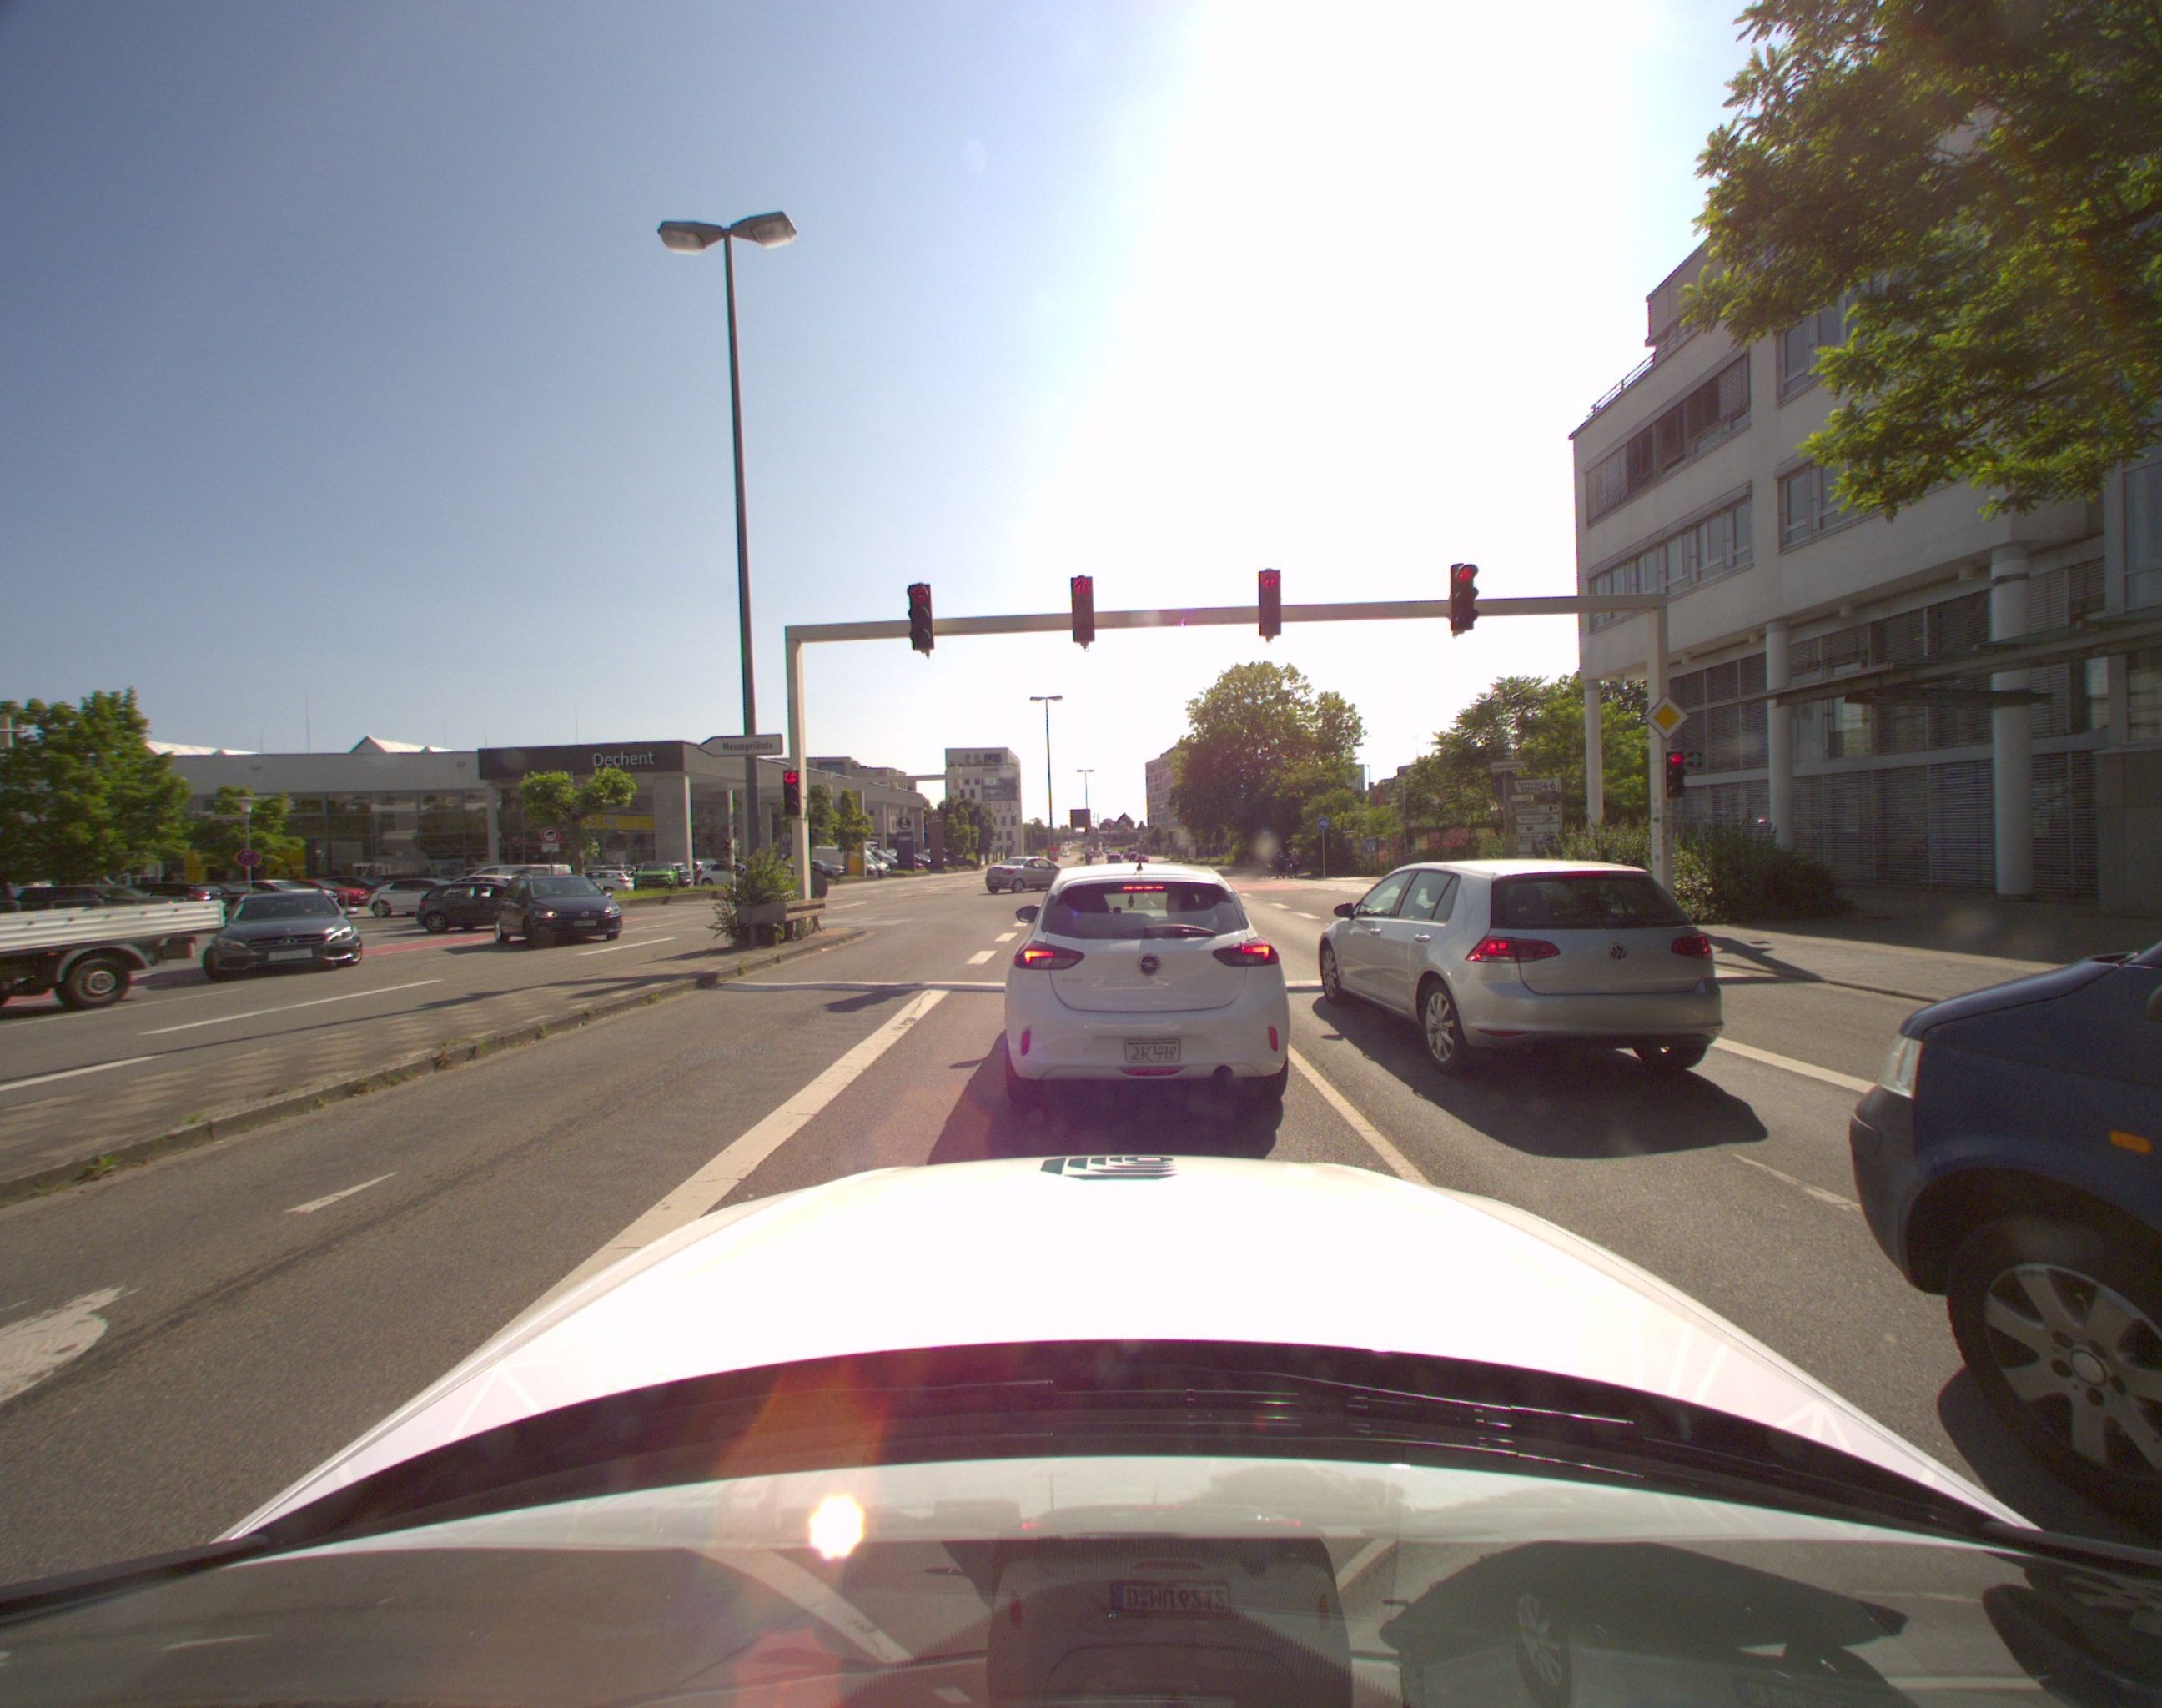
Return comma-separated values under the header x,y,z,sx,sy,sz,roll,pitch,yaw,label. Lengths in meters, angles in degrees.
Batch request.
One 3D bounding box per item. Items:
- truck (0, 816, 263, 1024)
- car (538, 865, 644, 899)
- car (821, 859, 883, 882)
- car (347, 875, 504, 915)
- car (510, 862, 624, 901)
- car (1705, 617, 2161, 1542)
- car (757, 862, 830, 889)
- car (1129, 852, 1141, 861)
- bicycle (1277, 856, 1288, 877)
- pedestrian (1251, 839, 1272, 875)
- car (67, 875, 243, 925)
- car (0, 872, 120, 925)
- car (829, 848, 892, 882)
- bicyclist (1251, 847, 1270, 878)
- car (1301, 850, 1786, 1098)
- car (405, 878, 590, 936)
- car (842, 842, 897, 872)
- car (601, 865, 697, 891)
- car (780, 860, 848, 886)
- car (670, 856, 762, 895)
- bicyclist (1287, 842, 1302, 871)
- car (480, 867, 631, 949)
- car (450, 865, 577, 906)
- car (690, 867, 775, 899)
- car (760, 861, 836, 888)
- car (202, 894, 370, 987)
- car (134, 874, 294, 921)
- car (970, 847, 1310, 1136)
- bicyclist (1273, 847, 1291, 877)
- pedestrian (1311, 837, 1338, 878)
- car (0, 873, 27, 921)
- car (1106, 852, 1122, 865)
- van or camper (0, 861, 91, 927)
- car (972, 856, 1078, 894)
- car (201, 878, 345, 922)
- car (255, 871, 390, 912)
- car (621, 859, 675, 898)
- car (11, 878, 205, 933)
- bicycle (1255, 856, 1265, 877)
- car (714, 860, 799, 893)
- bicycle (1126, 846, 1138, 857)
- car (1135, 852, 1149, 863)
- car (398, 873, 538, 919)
x,y,z,sx,sy,sz,roll,pitch,yaw,label
-14.408,0.860,9.733,2.346,2.545,6.445,-3,0,4,truck
-26.159,1.496,43.593,4.352,1.591,1.996,-2,0,-7,car
-18.506,1.337,65.910,4.334,1.696,2.004,-2,0,6,car
-25.544,1.589,31.869,4.348,1.300,1.997,-2,0,-4,car
-25.877,1.354,41.113,4.353,1.696,1.995,-2,0,-7,car
3.215,0.441,0.482,1.986,1.948,4.892,-2,-1,2,car
-20.070,1.469,56.965,4.344,1.696,1.999,-2,0,-1,car
9.088,0.393,137.537,1.799,1.386,4.001,0,-1,2,car
11.337,0.698,45.905,0.372,1.147,1.034,0,-1,0,bicycle
11.276,0.180,50.786,1.023,2.238,1.039,-2,0,1,pedestrian
-36.250,1.772,32.000,4.348,1.696,1.997,-2,0,-4,car
-43.165,1.825,33.708,3.984,2.013,1.995,-2,0,-8,car
-18.472,0.938,68.361,4.469,2.684,2.134,-2,0,10,car
10.450,0.475,47.538,0.876,1.772,0.864,-2,0,1,bicyclist
3.325,0.739,6.900,1.801,1.429,3.999,-2,-1,0,car
-17.429,1.558,24.519,3.982,1.442,1.996,-2,0,-6,car
-19.097,0.270,73.696,4.334,2.601,2.004,-2,0,6,car
-24.705,1.375,46.688,4.352,1.268,1.995,-3,-2,-7,car
-19.686,1.401,60.164,4.344,1.696,1.999,-2,0,-1,car
-19.036,1.085,42.607,3.859,1.837,1.999,-2,0,-1,car
12.158,0.120,46.343,0.650,1.637,0.660,0,-1,1,bicyclist
-12.074,1.158,18.621,4.082,1.617,1.903,-2,0,43,car
-26.512,1.441,38.187,4.353,1.696,1.995,-2,0,-7,car
-20.010,1.651,46.924,3.981,1.599,1.996,-2,0,-6,car
-18.984,1.353,54.716,4.343,1.696,1.999,-2,0,-1,car
-15.044,1.515,15.353,3.949,1.360,1.917,0,-1,41,car
-36.358,1.808,34.253,4.348,1.696,1.997,-2,0,-4,car
0.373,0.741,6.374,1.773,1.494,4.001,-2,0,2,car
11.311,0.468,45.861,0.687,1.643,0.775,-2,0,-7,bicyclist
12.425,0.182,41.585,1.023,2.013,1.039,-2,0,1,pedestrian
-40.612,1.615,28.342,4.371,1.696,1.987,-2,0,-20,car
3.785,0.541,94.321,1.800,1.386,4.000,1,0,1,car
-41.950,1.576,31.349,4.711,2.400,1.995,-2,0,-8,van or camper
-2.281,0.825,33.907,4.023,1.331,1.976,-3,1,-43,car
-36.638,2.061,37.024,4.348,1.696,1.997,-2,0,-4,car
-36.621,1.779,39.423,4.352,1.696,1.995,-2,0,-7,car
-21.255,1.217,39.965,1.915,1.733,3.258,-2,-1,-35,car
-35.091,1.817,29.488,4.348,1.696,1.997,-2,0,-4,car
10.457,0.742,47.509,0.371,1.216,1.154,0,0,2,bicycle
-19.686,1.346,49.588,4.284,1.765,1.999,-2,0,-1,car
9.737,-0.476,155.471,1.986,2.157,4.001,-2,0,1,bicycle
8.179,0.523,109.473,1.799,1.386,4.001,0,-1,2,car
-26.293,1.781,35.071,4.348,1.696,1.997,-2,0,-4,car
